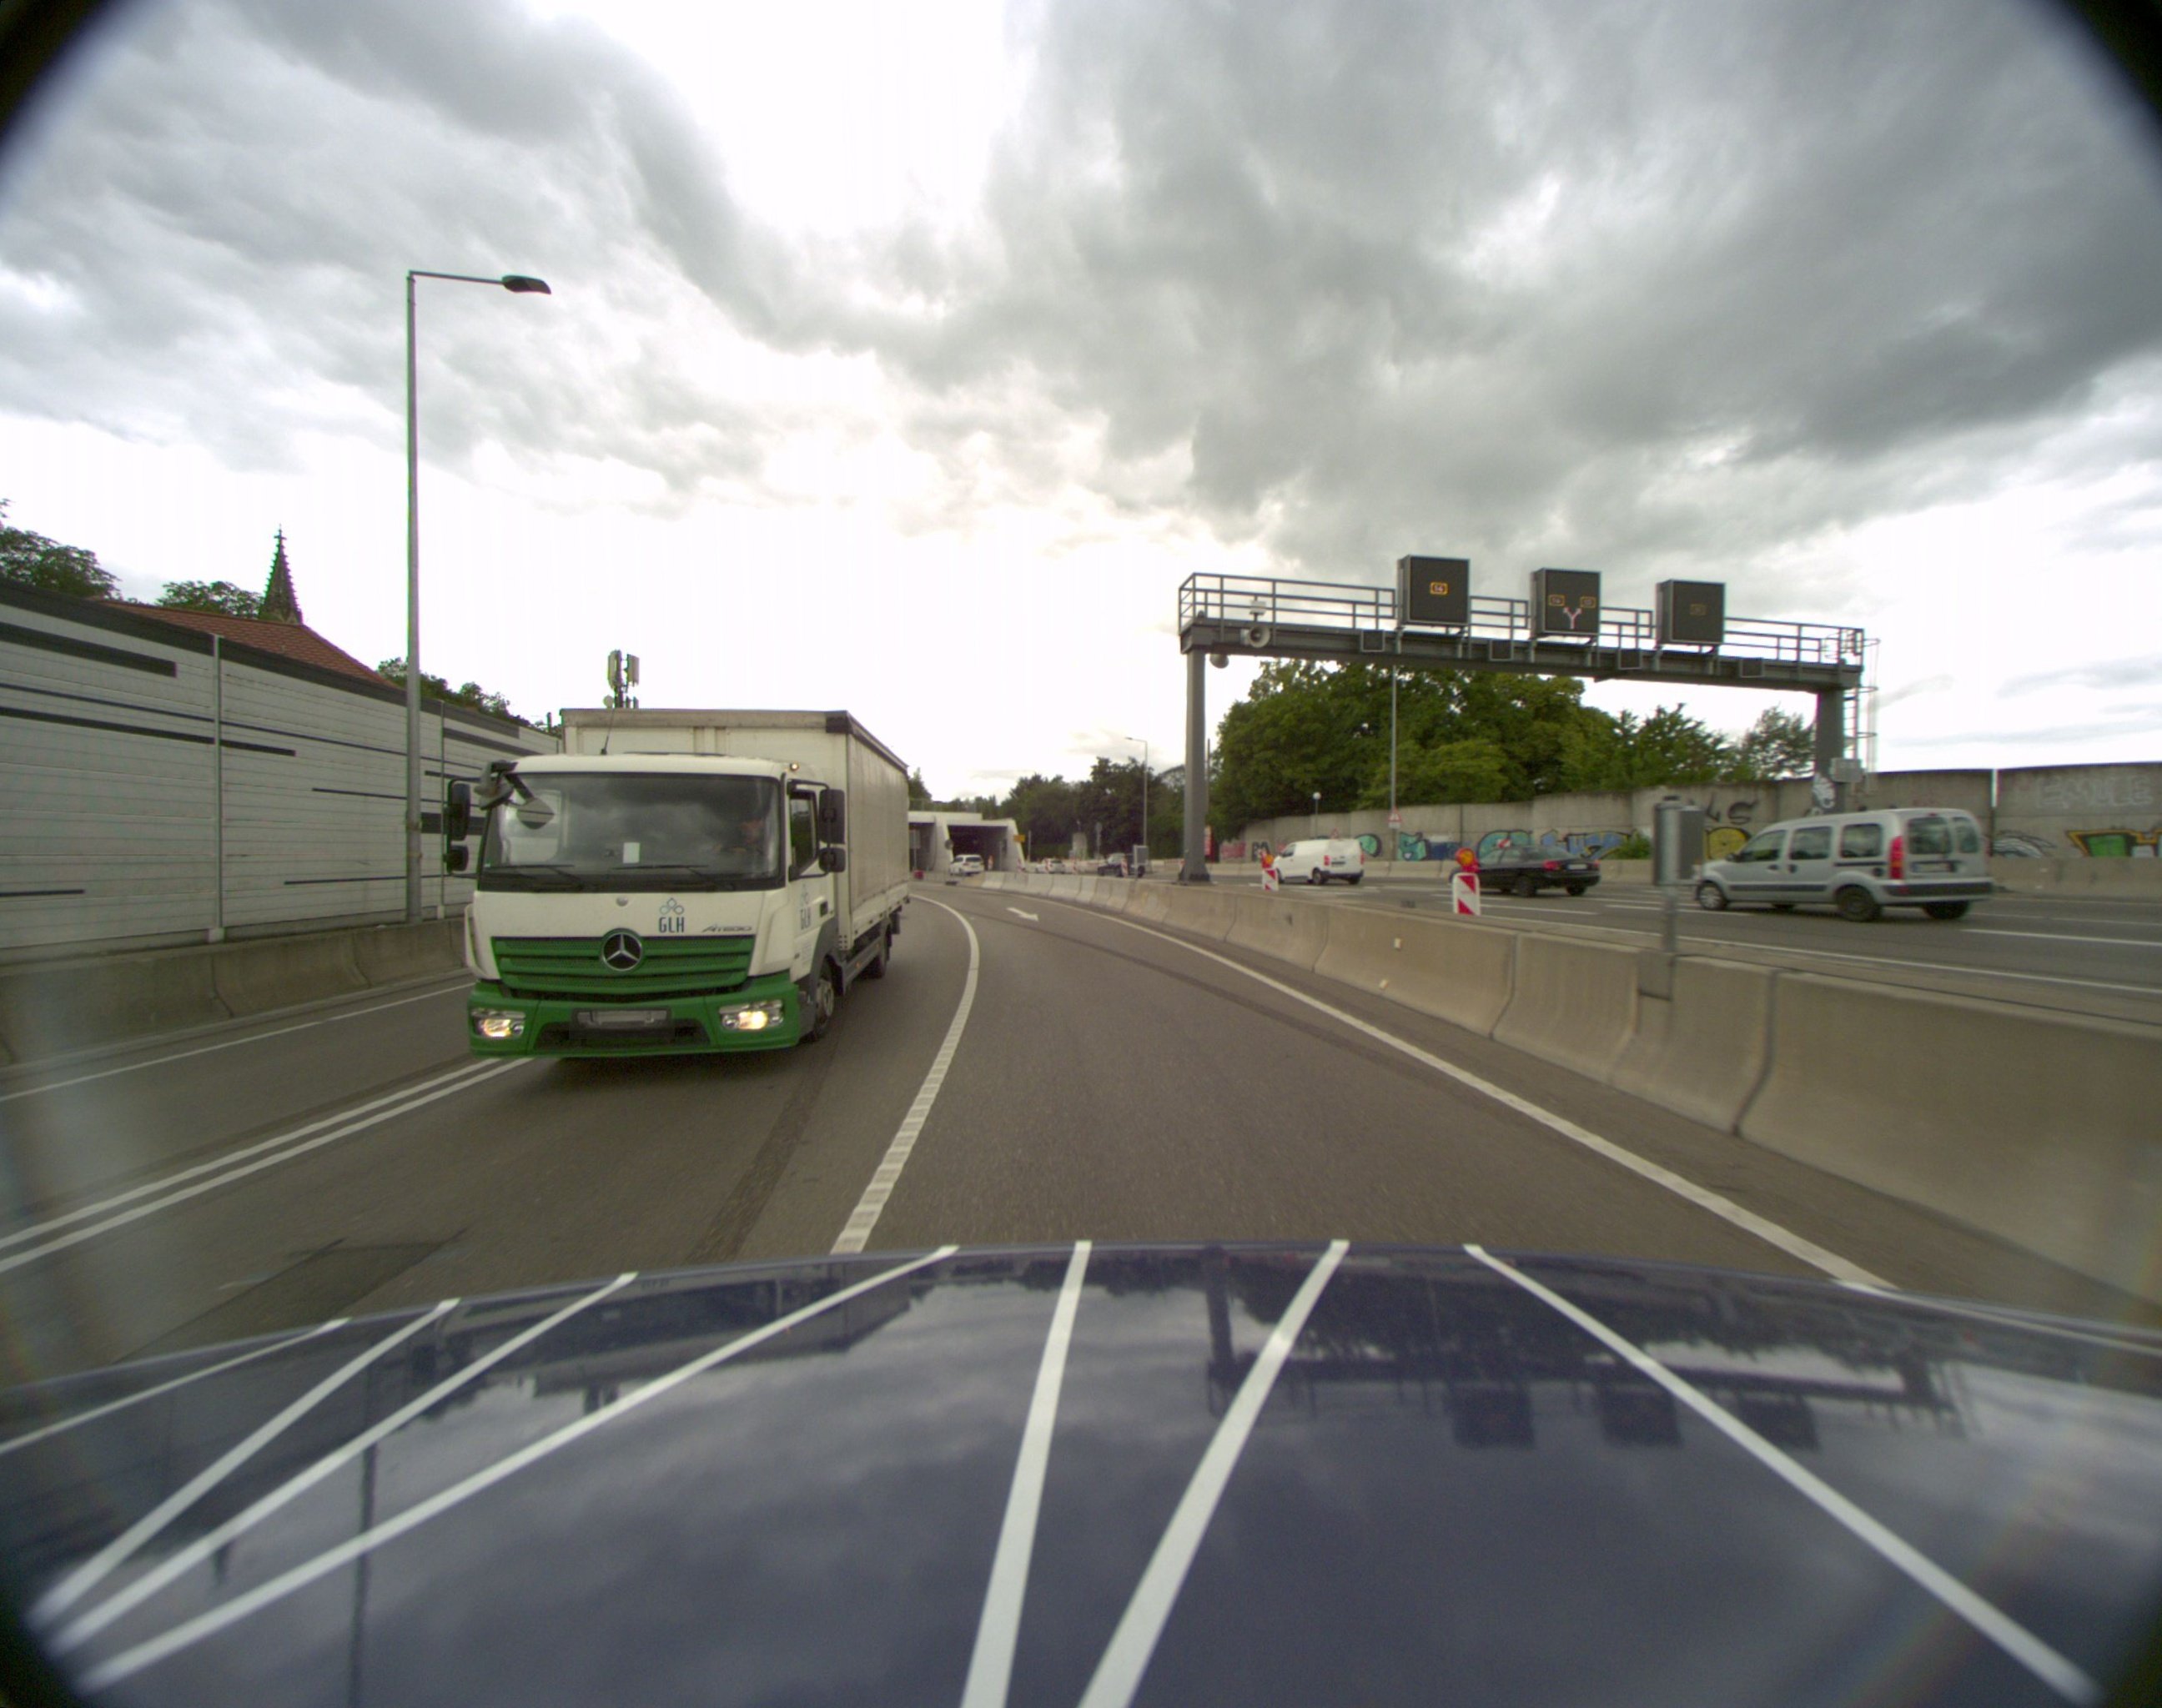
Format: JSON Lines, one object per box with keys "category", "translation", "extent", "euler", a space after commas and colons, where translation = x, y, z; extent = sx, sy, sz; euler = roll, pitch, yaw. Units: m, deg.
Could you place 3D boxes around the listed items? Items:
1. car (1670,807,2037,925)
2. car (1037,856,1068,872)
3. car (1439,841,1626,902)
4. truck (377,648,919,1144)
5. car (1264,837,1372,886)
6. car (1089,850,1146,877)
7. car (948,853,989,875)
{"category": "car", "translation": [12.962, 0.165, 13.240], "extent": [1.999, 1.676, 4.258], "euler": [-1, 0, -2]}
{"category": "car", "translation": [-2.778, 0.908, 72.522], "extent": [1.767, 1.426, 4.137], "euler": [-1, 1, -21]}
{"category": "car", "translation": [12.444, 0.440, 21.365], "extent": [2.000, 1.480, 4.583], "euler": [-1, 0, -11]}
{"category": "truck", "translation": [-3.618, 0.234, 8.764], "extent": [2.638, 3.220, 7.410], "euler": [-1, 0, -7]}
{"category": "car", "translation": [10.164, 0.282, 33.094], "extent": [2.245, 1.940, 5.098], "euler": [-1, 0, -13]}
{"category": "car", "translation": [2.471, 0.645, 52.997], "extent": [2.002, 1.685, 4.918], "euler": [-2, 0, -23]}
{"category": "car", "translation": [-9.348, 0.783, 62.835], "extent": [1.959, 1.740, 5.263], "euler": [-1, 1, -24]}
